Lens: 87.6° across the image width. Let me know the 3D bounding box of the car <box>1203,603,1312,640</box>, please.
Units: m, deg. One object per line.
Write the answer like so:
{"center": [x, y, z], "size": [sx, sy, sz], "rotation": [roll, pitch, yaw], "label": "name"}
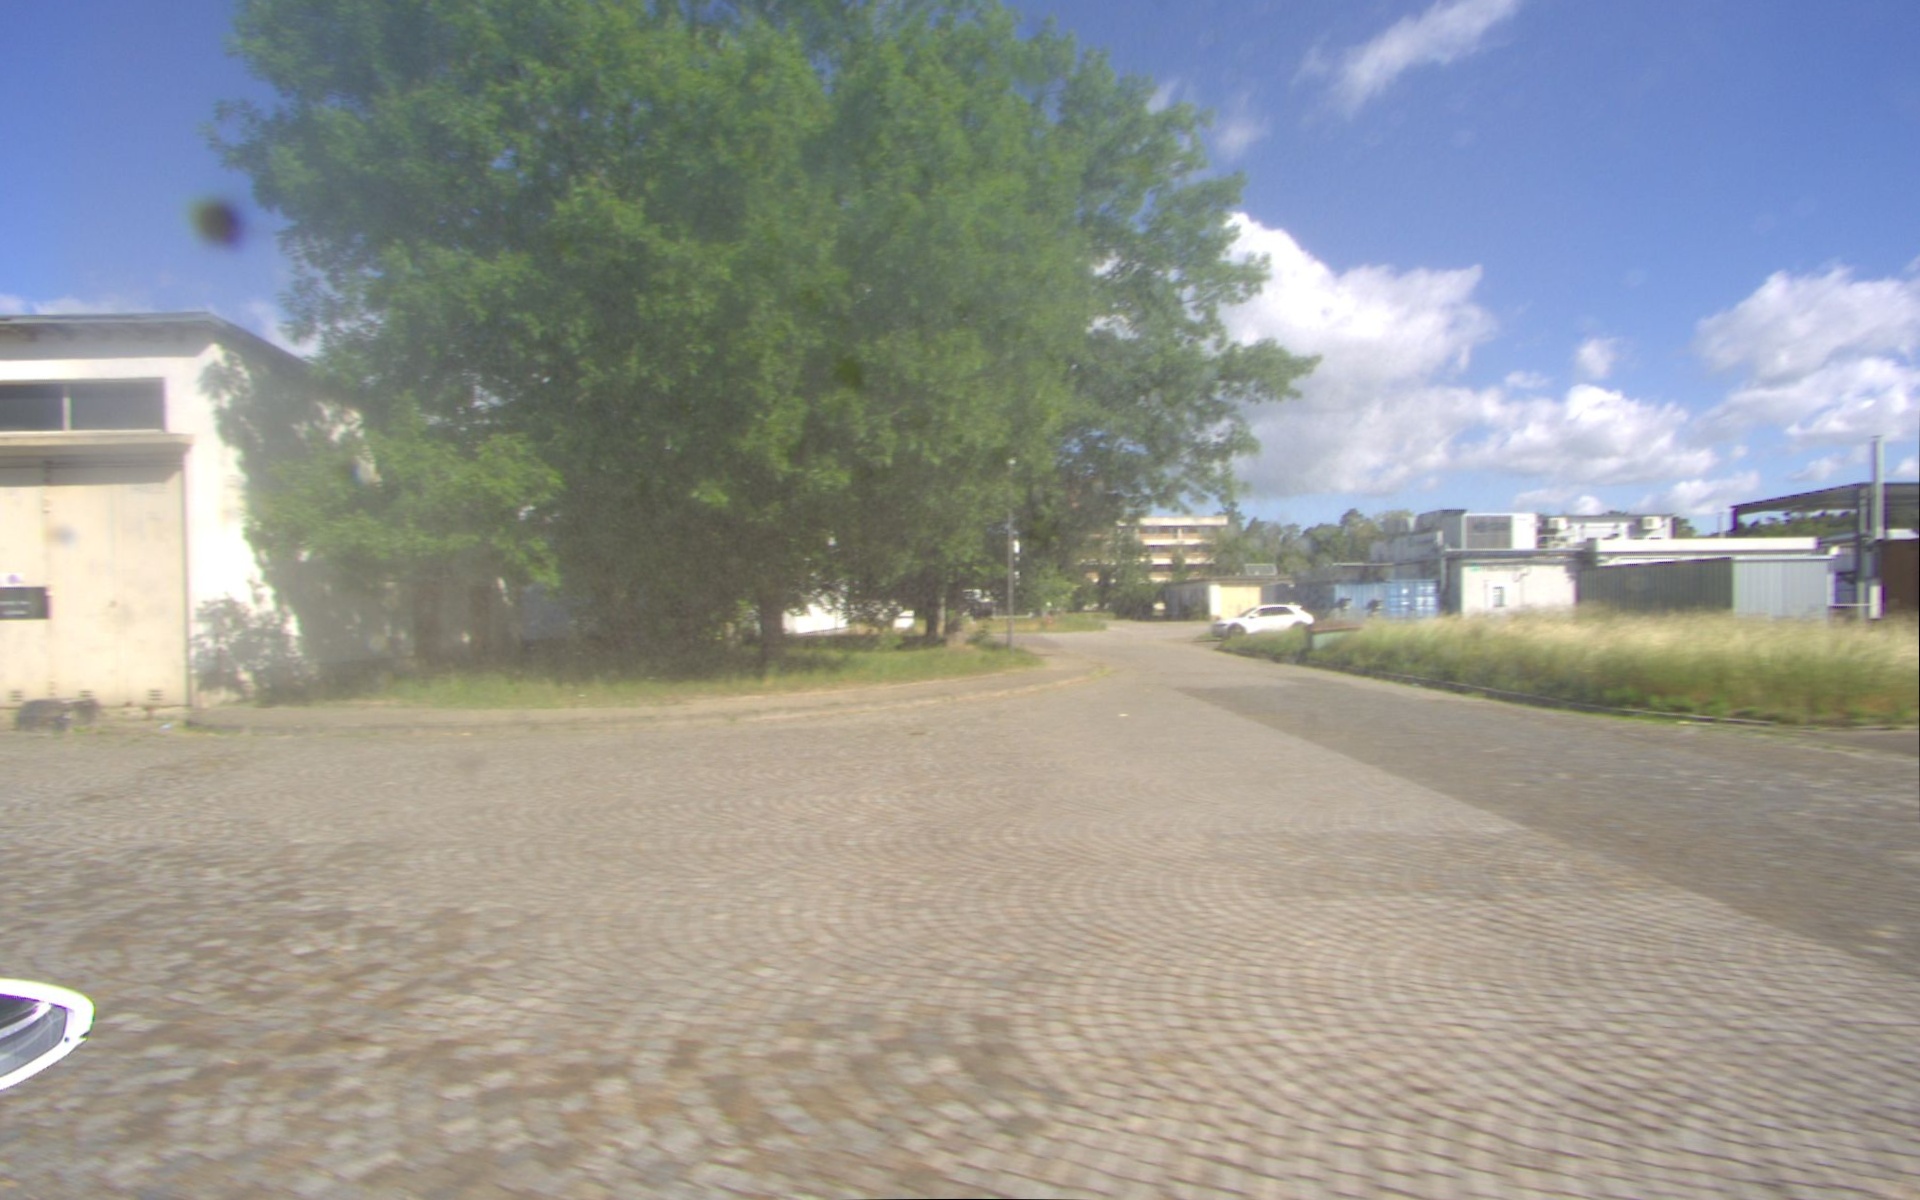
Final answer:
{"center": [13.774, 0.977, 46.506], "size": [4.431, 1.669, 2.000], "rotation": [0, 0, -1], "label": "car"}
